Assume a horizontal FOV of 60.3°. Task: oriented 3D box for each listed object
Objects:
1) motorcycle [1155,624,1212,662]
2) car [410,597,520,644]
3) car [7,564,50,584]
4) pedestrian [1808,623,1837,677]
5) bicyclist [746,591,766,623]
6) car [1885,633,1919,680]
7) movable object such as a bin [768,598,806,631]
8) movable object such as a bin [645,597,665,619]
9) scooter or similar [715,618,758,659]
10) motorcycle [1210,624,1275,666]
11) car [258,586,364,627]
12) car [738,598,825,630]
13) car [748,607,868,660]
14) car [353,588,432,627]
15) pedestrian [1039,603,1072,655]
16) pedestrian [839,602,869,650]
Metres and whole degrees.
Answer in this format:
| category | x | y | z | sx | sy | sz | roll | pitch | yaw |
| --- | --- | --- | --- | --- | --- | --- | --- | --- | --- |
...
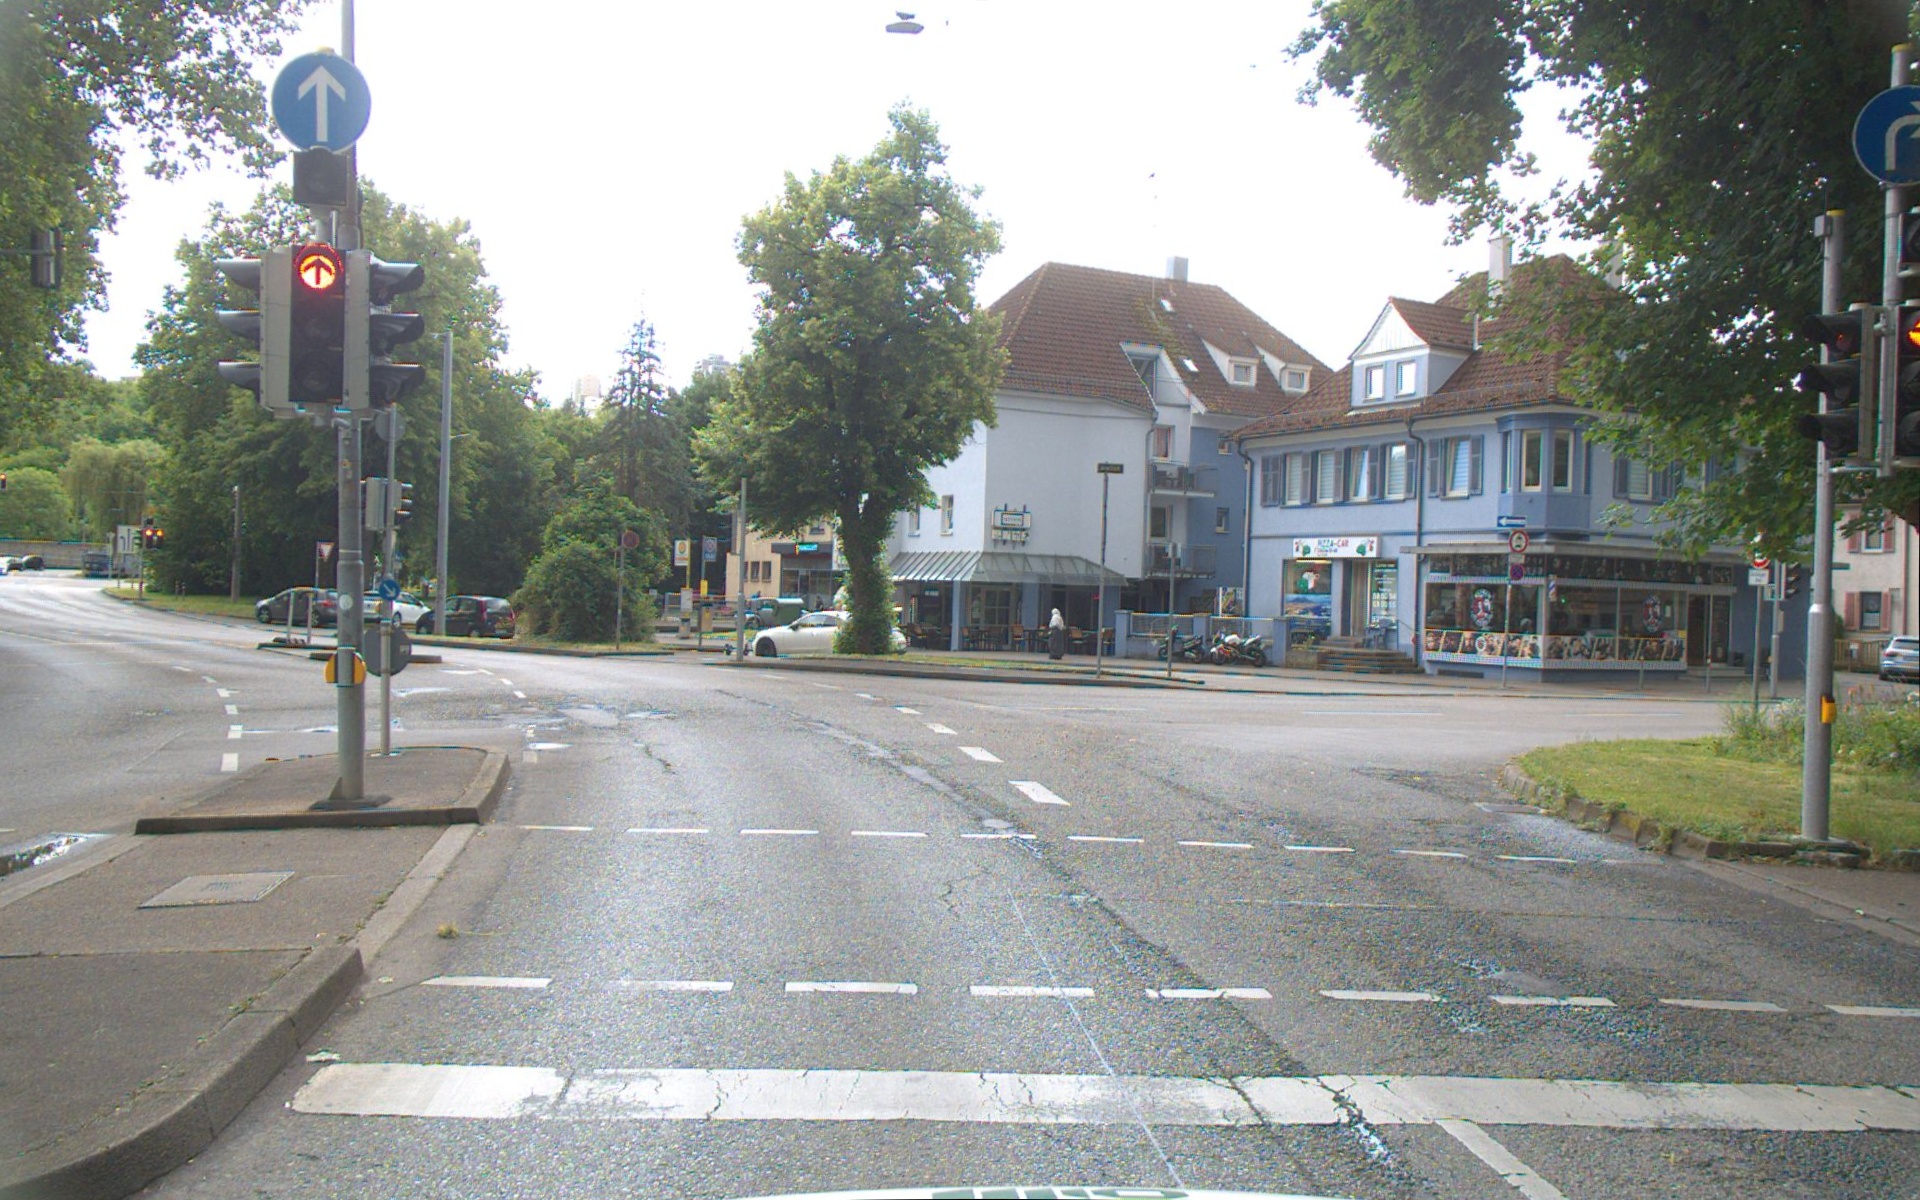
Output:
| category | x | y | z | sx | sy | sz | roll | pitch | yaw |
| --- | --- | --- | --- | --- | --- | --- | --- | --- | --- |
| motorcycle | 6.791 | 1.294 | 50.239 | 1.609 | 1.082 | 0.690 | 1 | 0 | 44 |
| car | -16.008 | 0.661 | 53.464 | 3.519 | 1.418 | 1.468 | 1 | 0 | 32 |
| car | -102.217 | -2.819 | 181.492 | 3.948 | 2.049 | 1.978 | 1 | 0 | -32 |
| pedestrian | 24.795 | 1.430 | 47.571 | 0.451 | 1.544 | 0.584 | 1 | -1 | -21 |
| bicyclist | -10.306 | 0.358 | 83.557 | 0.726 | 1.568 | 0.597 | 1 | 0 | 39 |
| car | 29.851 | 1.738 | 51.416 | 1.471 | 1.393 | 3.164 | 1 | 0 | 38 |
| movable object such as a bin | -7.719 | 0.660 | 73.843 | 1.424 | 1.433 | 0.959 | 1 | 0 | -27 |
| movable object such as a bin | -15.854 | 0.398 | 85.916 | 0.937 | 1.135 | 0.381 | 1 | 0 | -22 |
| scooter or similar | -5.731 | 0.984 | 42.543 | 0.408 | 1.029 | 1.567 | 1 | 0 | 20 |
| motorcycle | 8.272 | 1.311 | 48.482 | 1.765 | 1.141 | 0.692 | 1 | 0 | 38 |
| car | -24.860 | 0.248 | 63.396 | 3.469 | 1.490 | 1.586 | 1 | 0 | 12 |
| car | -8.159 | 0.644 | 75.734 | 3.690 | 1.368 | 1.421 | 1 | 0 | -27 |
| car | -4.245 | 0.919 | 45.960 | 3.110 | 1.378 | 1.435 | 1 | 0 | 34 |
| car | -22.669 | 0.309 | 66.186 | 1.512 | 1.490 | 3.398 | 1 | 0 | 10 |
| pedestrian | 2.971 | 0.891 | 51.291 | 0.754 | 1.572 | 0.675 | 1 | -1 | 38 |
| pedestrian | -3.549 | 0.878 | 55.394 | 0.694 | 1.572 | 0.675 | 1 | 0 | 39 |
